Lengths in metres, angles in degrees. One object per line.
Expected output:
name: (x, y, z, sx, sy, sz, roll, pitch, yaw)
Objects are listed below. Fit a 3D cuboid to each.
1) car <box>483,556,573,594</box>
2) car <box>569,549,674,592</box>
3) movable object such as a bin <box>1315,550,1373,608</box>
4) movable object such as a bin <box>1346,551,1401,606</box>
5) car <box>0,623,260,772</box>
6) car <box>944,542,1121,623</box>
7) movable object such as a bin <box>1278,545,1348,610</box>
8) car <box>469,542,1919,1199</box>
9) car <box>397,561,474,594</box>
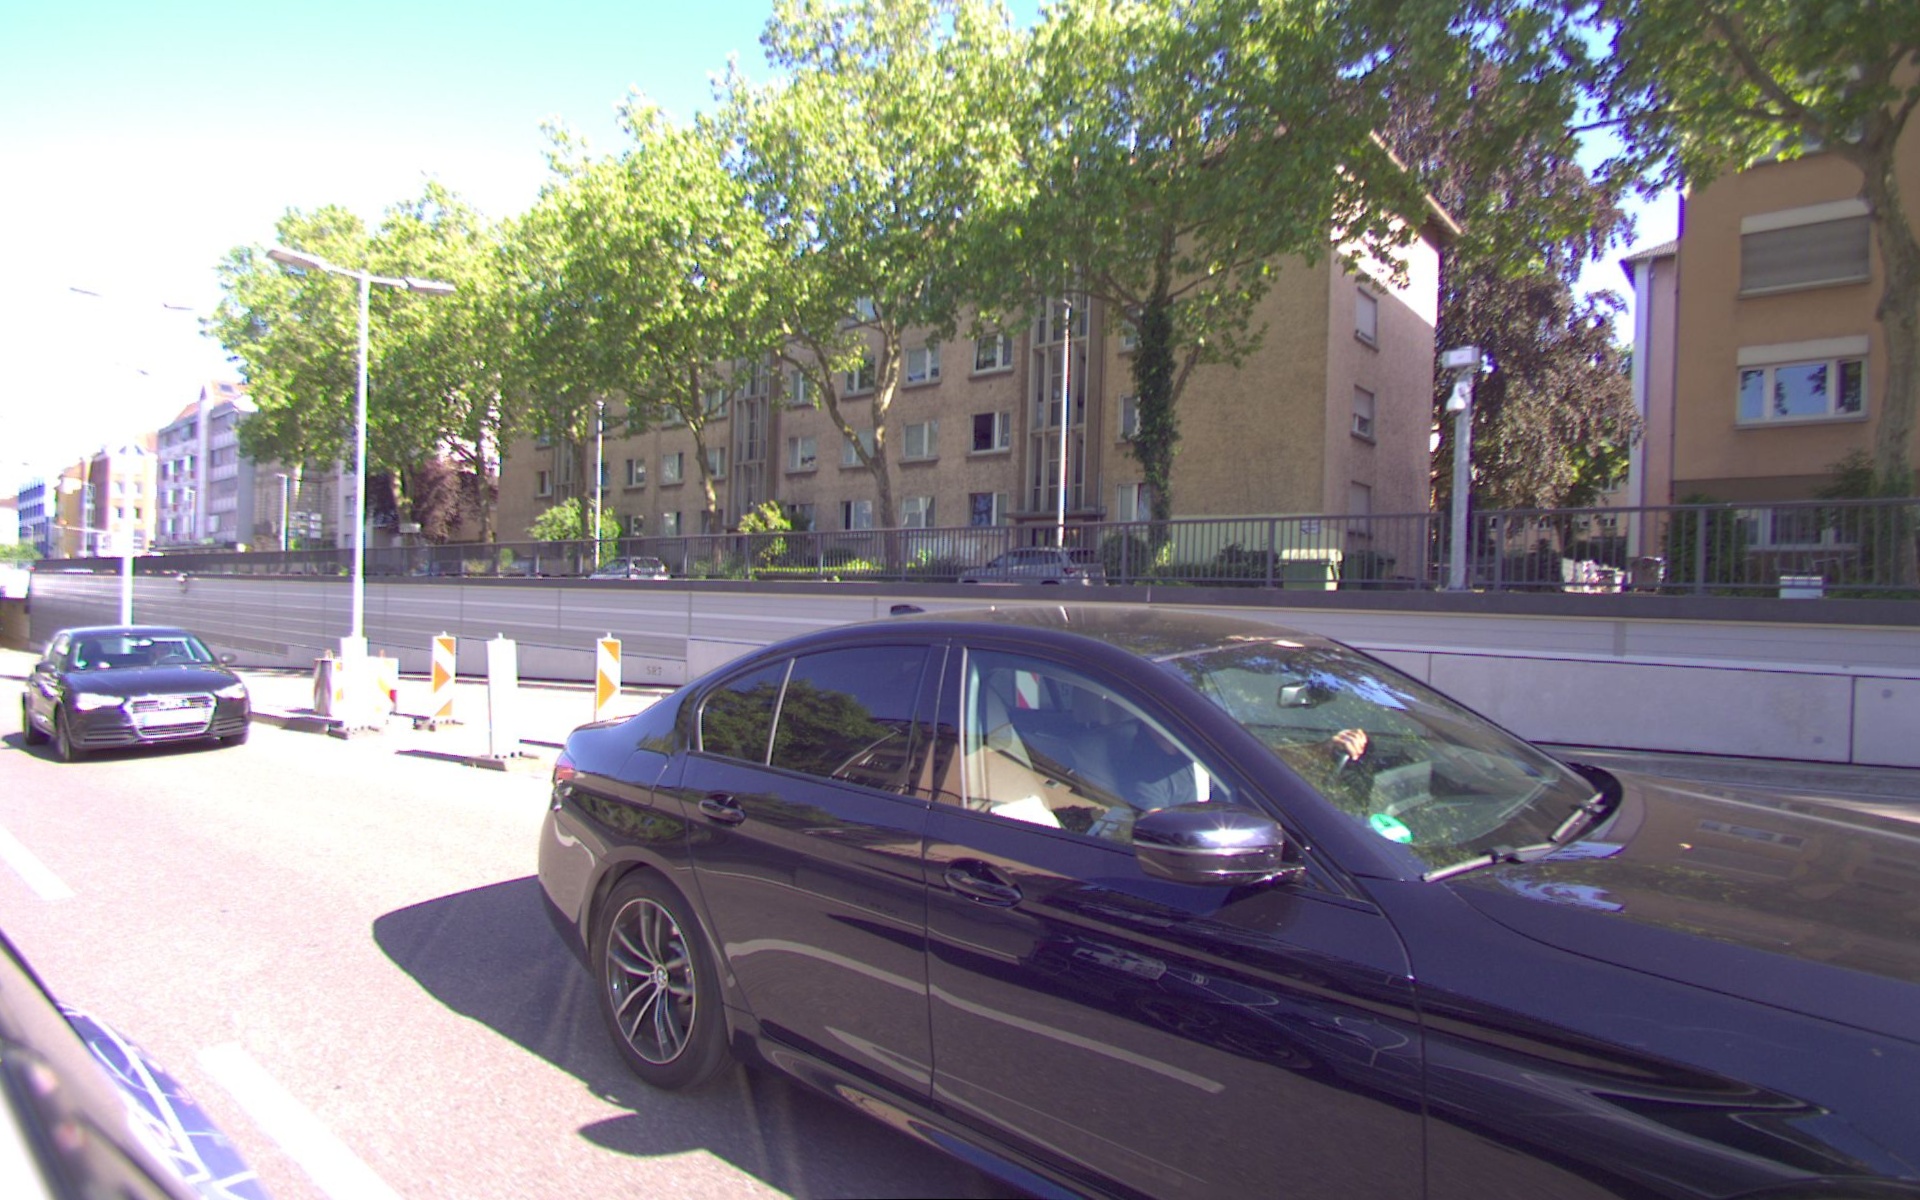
car: (-19.229, -1.083, 44.969, 4.299, 1.596, 1.902, 0, 1, 39)
car: (-13.261, -1.108, 39.561, 4.299, 1.596, 1.902, 0, 1, 39)
movable object such as a bin: (10.353, -0.557, 27.296, 1.146, 1.495, 1.301, 0, 1, 38)
movable object such as a bin: (11.644, -0.586, 28.485, 1.146, 1.495, 1.301, 0, 1, 38)
car: (-9.862, 1.029, 11.922, 3.885, 1.429, 1.678, -2, -1, 40)
car: (1.850, -0.447, 26.832, 4.411, 1.975, 1.945, 0, 1, 41)
movable object such as a bin: (8.452, -0.518, 24.184, 1.354, 1.495, 1.196, 0, 1, 33)
car: (0.720, 0.685, 2.736, 4.998, 1.450, 1.790, -2, -1, 40)
car: (-26.409, -1.122, 50.904, 4.299, 1.596, 1.902, 0, 1, 39)
